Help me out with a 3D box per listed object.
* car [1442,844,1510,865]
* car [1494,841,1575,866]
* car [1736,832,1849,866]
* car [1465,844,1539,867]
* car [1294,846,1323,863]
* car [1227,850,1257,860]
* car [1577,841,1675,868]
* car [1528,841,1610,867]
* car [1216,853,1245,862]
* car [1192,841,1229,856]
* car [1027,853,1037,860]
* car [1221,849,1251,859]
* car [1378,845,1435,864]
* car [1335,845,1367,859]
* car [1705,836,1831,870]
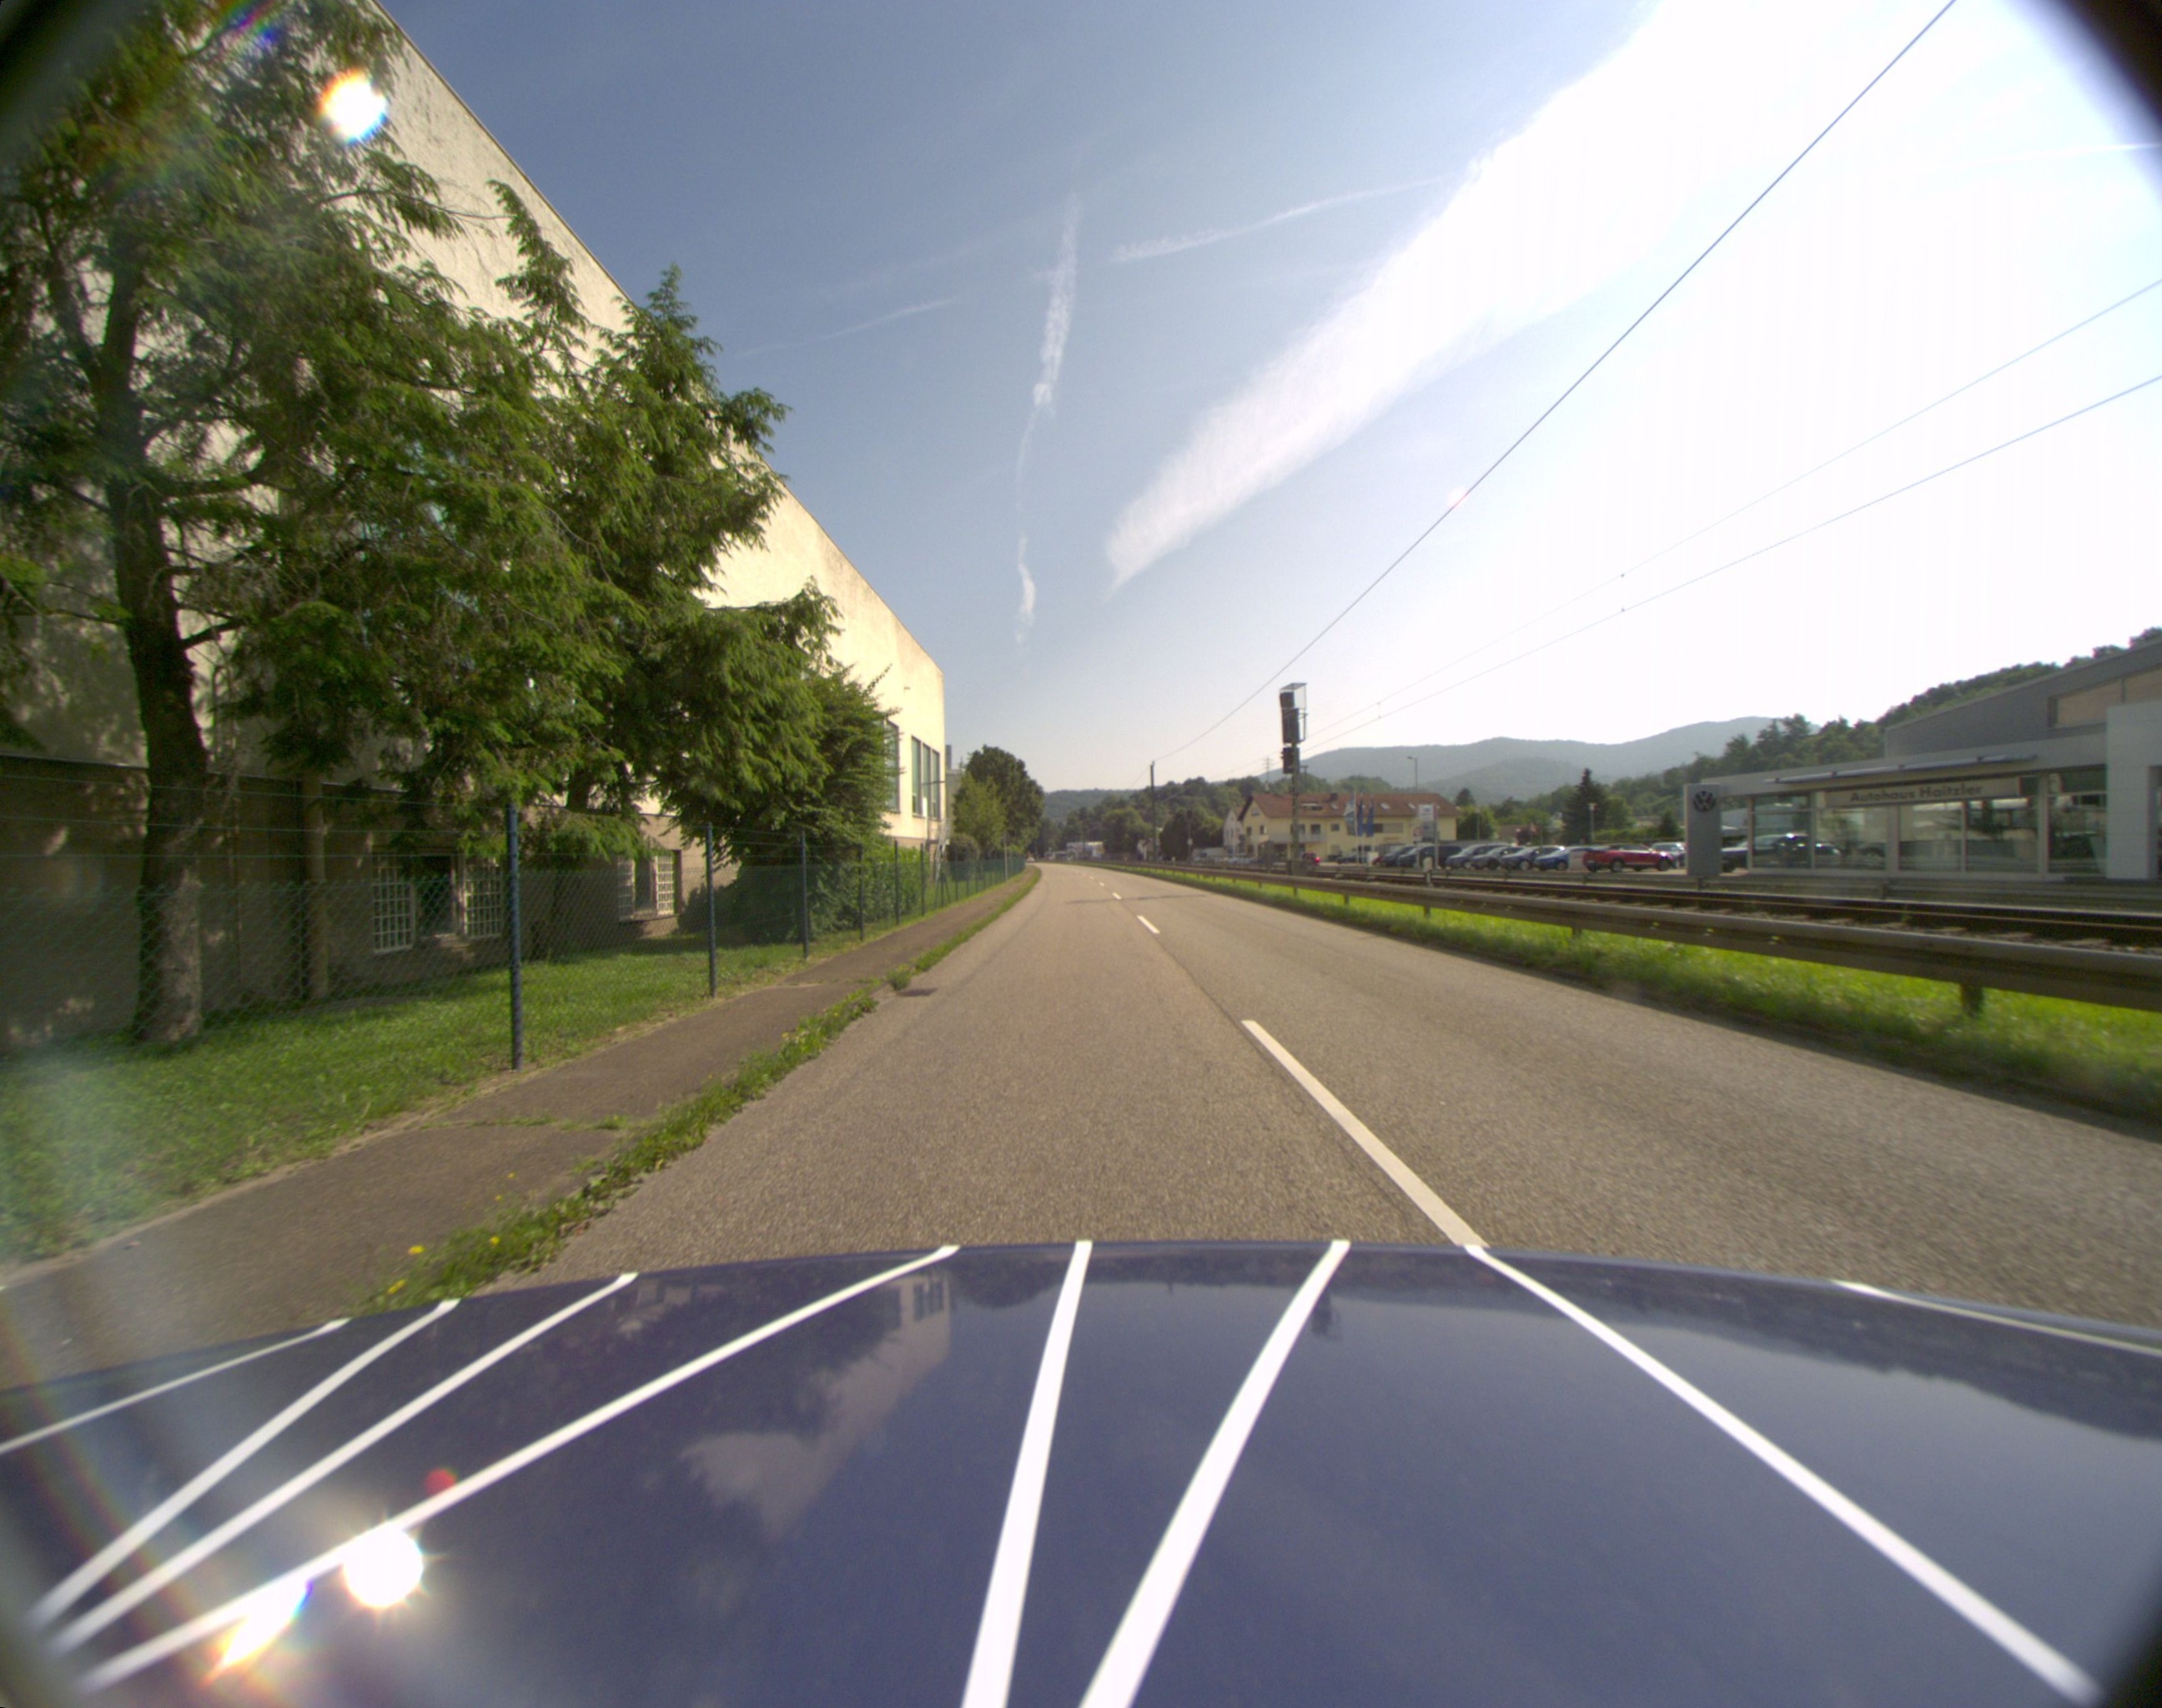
[{"bbox_3d":[28.403,0.044,54.677,3.997,1.451,1.760,-1,0,-1],"label":"car"},{"bbox_3d":[28.417,-0.043,47.689,3.997,1.451,1.760,-1,0,-1],"label":"car"},{"bbox_3d":[35.485,-0.226,37.941,3.999,1.572,1.999,-1,0,-6],"label":"car"},{"bbox_3d":[28.219,0.099,50.954,3.997,1.451,1.760,-1,0,-1],"label":"car"},{"bbox_3d":[20.715,0.052,69.287,1.859,1.451,4.002,-1,0,6],"label":"car"},{"bbox_3d":[22.506,0.147,106.213,3.857,1.292,1.648,-1,0,-6],"label":"car"},{"bbox_3d":[28.765,0.007,40.182,3.999,1.367,1.860,-1,0,-6],"label":"car"},{"bbox_3d":[28.534,0.008,44.464,4.001,1.451,1.759,-1,0,-12],"label":"car"},{"bbox_3d":[21.947,0.508,111.747,3.857,1.292,1.648,-1,0,-6],"label":"car"},{"bbox_3d":[21.378,-0.899,125.264,5.587,2.403,2.235,-1,1,-4],"label":"car"},{"bbox_3d":[-12.869,0.740,200.309,2.001,1.696,3.995,-1,0,-12],"label":"car"},{"bbox_3d":[22.198,-0.029,108.969,3.857,1.292,1.648,-1,0,-6],"label":"car"},{"bbox_3d":[27.099,0.044,63.391,3.997,1.451,1.760,-1,0,-1],"label":"car"},{"bbox_3d":[31.752,-0.209,89.359,3.540,1.567,1.651,-1,0,19],"label":"car"},{"bbox_3d":[30.522,-0.049,33.829,3.997,1.451,1.861,-1,0,-1],"label":"car"}]
